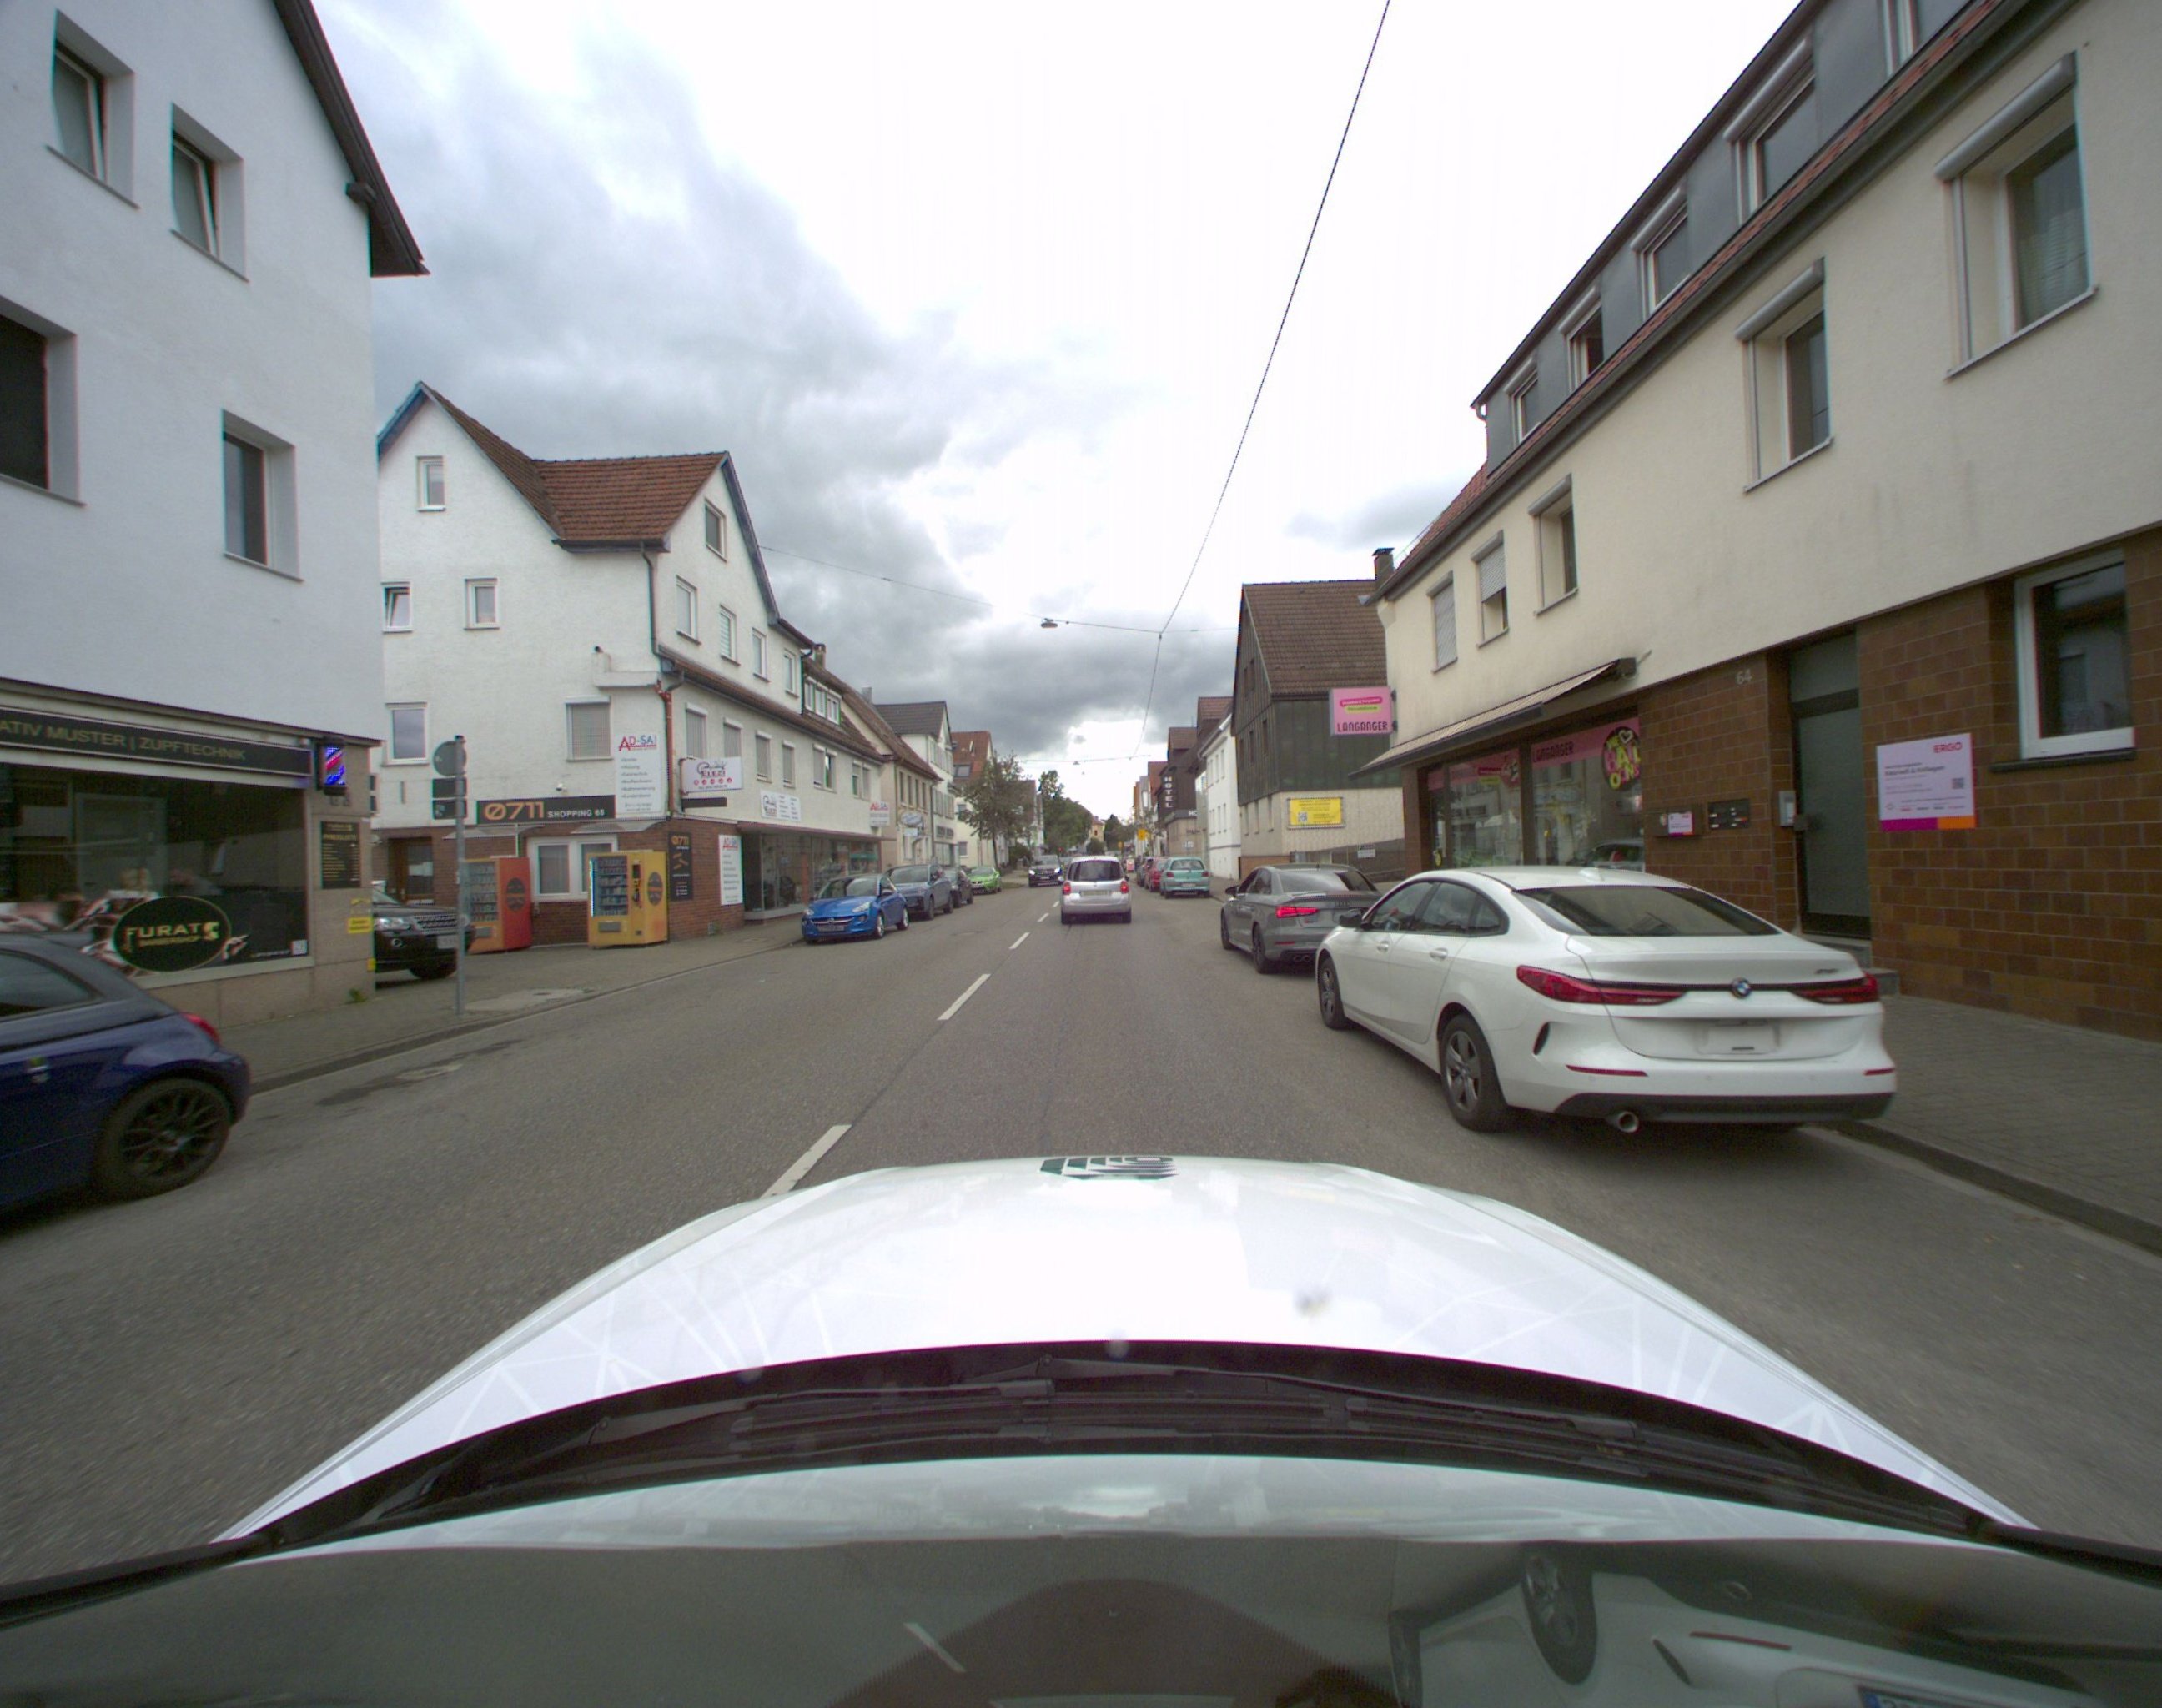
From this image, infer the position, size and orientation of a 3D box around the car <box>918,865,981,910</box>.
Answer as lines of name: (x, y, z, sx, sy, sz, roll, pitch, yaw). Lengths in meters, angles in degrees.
car: (-4.868, 1.201, 30.518, 1.575, 1.508, 3.814, -1, 0, 2)

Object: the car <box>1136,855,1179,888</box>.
car: (3.814, 0.846, 41.363, 1.869, 1.539, 4.514, -1, 0, 2)

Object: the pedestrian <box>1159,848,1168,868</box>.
pedestrian: (8.193, 0.396, 80.859, 0.854, 1.928, 0.900, -1, -1, 1)

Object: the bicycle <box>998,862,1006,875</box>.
bicycle: (-7.003, 1.301, 72.375, 0.513, 1.153, 1.665, -1, 0, -1)

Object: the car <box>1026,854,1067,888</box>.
car: (-1.920, 0.929, 46.892, 1.893, 1.737, 4.368, -4, 0, 2)

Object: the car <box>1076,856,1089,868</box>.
car: (0.250, 1.323, 136.358, 1.945, 2.013, 4.001, -1, 0, 1)

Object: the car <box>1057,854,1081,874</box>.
car: (-1.027, 0.837, 71.268, 1.788, 1.578, 4.193, -4, 0, 1)

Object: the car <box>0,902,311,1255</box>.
car: (-5.712, 1.095, 3.262, 1.676, 1.493, 3.593, -4, 0, 2)

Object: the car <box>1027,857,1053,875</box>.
car: (-3.830, 1.122, 76.185, 1.941, 1.467, 4.518, -5, 0, 2)

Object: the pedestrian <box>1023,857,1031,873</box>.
pedestrian: (-6.123, 1.206, 92.116, 0.760, 1.791, 0.890, -1, -1, 1)

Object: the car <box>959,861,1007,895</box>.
car: (-4.839, 1.160, 40.682, 1.676, 1.447, 4.022, -4, 0, 2)

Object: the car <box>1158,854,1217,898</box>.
car: (3.928, 0.772, 30.611, 1.824, 1.497, 3.995, -1, 0, 2)

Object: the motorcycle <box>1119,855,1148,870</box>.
motorcycle: (4.918, 0.770, 75.559, 2.724, 1.336, 0.693, -1, -1, -29)

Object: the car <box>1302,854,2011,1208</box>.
car: (3.002, 0.748, 5.583, 1.825, 1.446, 4.332, -1, 0, 1)

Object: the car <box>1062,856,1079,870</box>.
car: (-1.168, 0.968, 90.013, 1.678, 1.447, 4.018, -4, 0, -1)

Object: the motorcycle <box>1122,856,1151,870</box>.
motorcycle: (5.070, 0.837, 74.511, 2.745, 1.183, 0.693, -1, -1, -29)

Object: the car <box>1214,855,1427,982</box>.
car: (3.137, 0.762, 11.582, 1.825, 1.446, 4.110, -1, 0, 0)

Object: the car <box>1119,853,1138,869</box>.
car: (4.847, 0.706, 83.523, 1.695, 1.467, 4.239, -1, 0, 1)

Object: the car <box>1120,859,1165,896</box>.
car: (2.603, 0.966, 35.436, 1.748, 1.446, 4.457, -1, 0, 2)

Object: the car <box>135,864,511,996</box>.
car: (-10.952, 1.051, 11.918, 3.962, 1.702, 2.006, -2, 0, 10)

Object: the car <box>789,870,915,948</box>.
car: (-5.236, 1.200, 19.126, 1.676, 1.499, 3.777, -4, 0, 2)

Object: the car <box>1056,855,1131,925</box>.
car: (0.361, 0.823, 20.422, 1.676, 1.566, 3.995, -1, 0, 2)

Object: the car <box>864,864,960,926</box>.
car: (-5.063, 1.173, 24.942, 1.796, 1.599, 4.306, -4, 0, 2)
